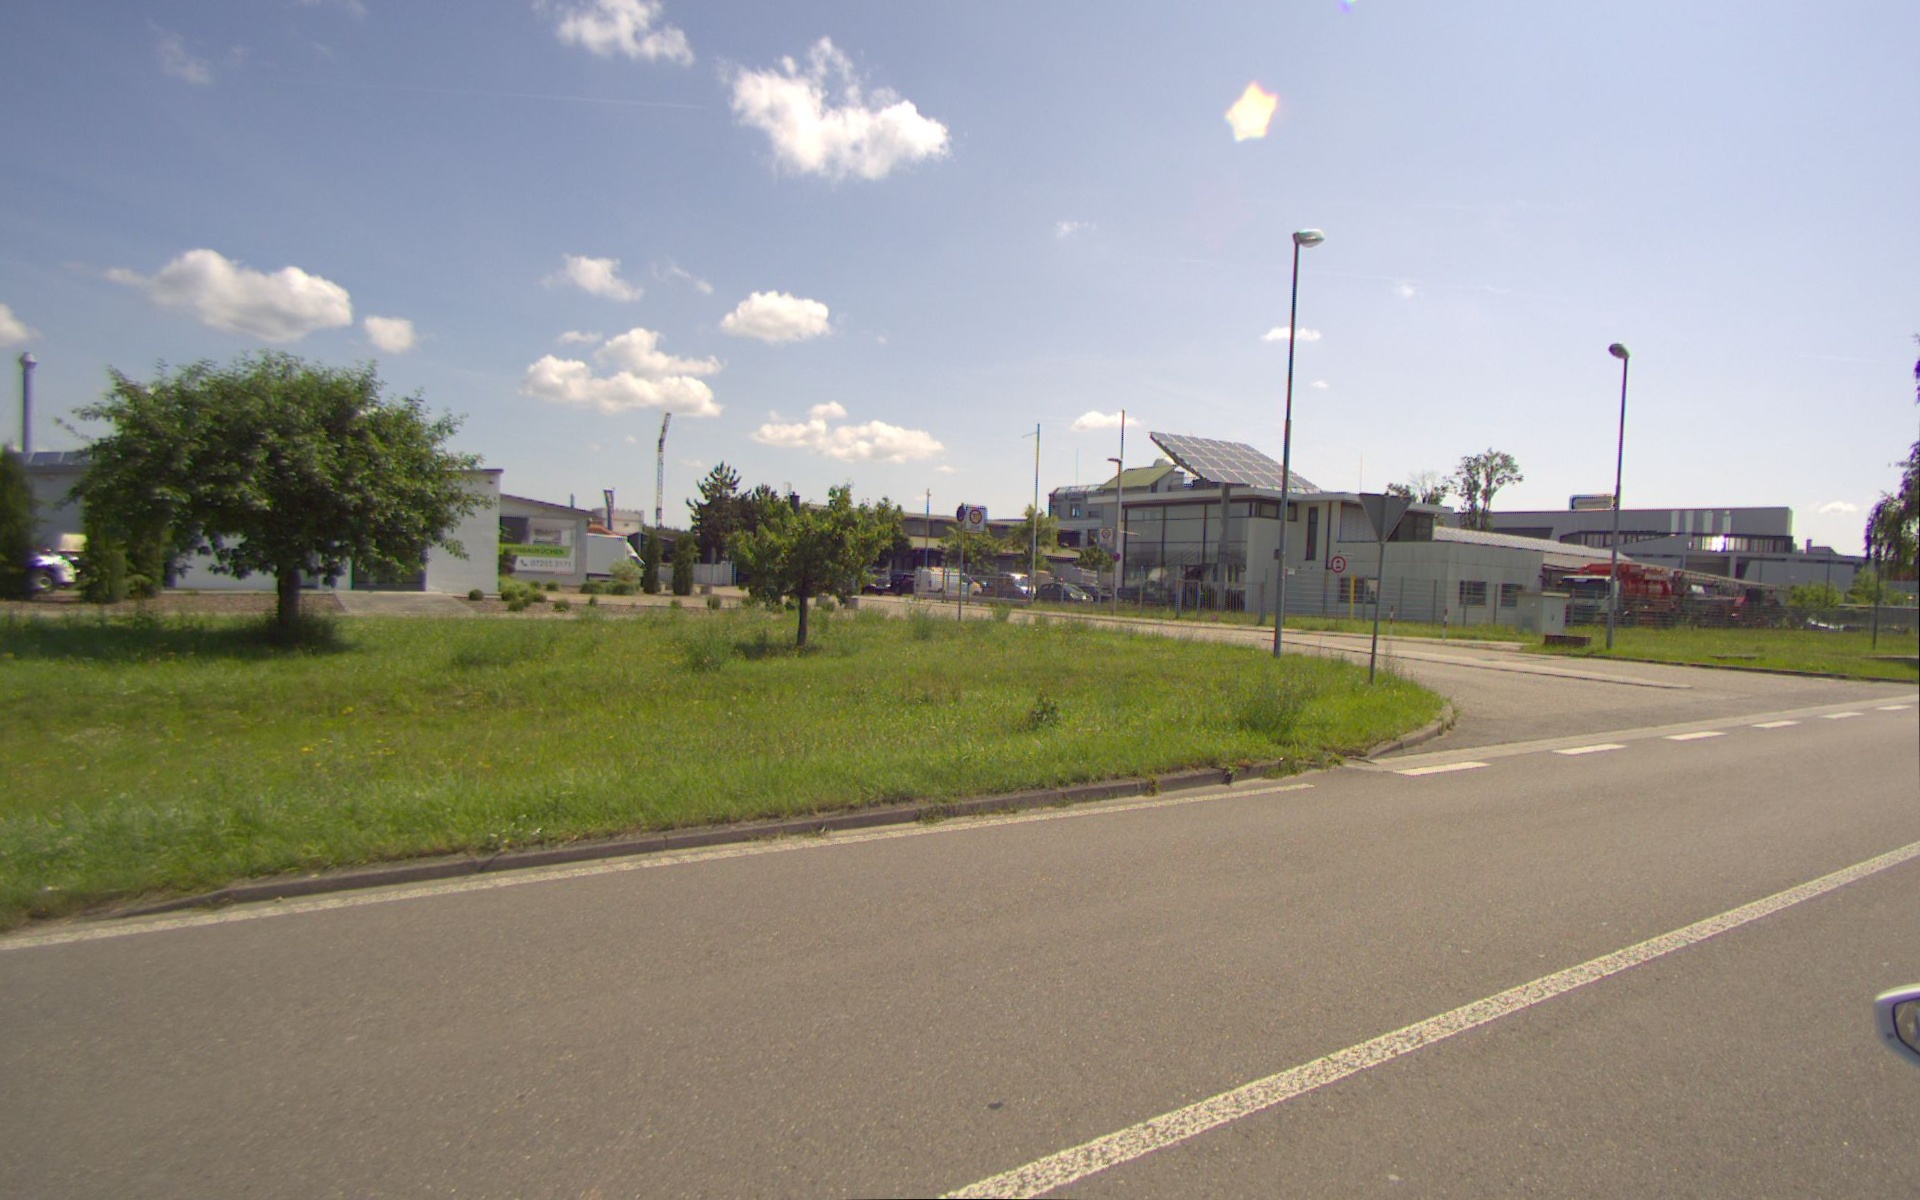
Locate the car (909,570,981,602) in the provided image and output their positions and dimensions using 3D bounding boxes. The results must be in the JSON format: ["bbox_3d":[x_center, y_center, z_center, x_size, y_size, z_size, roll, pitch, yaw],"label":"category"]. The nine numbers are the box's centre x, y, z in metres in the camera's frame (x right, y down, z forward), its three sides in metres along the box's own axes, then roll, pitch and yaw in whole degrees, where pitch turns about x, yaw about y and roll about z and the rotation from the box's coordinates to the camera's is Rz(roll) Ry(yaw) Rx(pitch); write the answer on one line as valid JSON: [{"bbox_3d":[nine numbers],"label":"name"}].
[{"bbox_3d":[-0.980,-0.935,67.953,4.704,2.041,1.976,1,2,-41],"label":"car"}]

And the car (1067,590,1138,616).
[{"bbox_3d":[8.099,0.155,57.507,1.786,1.261,3.960,1,2,-35],"label":"car"}]

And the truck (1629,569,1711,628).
[{"bbox_3d":[44.588,-0.051,63.051,5.389,3.499,2.418,1,2,-36],"label":"truck"}]

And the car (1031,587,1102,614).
[{"bbox_3d":[5.943,0.026,56.239,1.786,1.261,3.960,1,2,-35],"label":"car"}]

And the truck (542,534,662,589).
[{"bbox_3d":[-23.531,-2.503,66.249,7.122,3.256,1.979,1,2,-36],"label":"truck"}]

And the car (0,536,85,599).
[{"bbox_3d":[-26.651,-0.909,27.080,1.962,1.662,4.166,3,2,25],"label":"car"}]

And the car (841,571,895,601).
[{"bbox_3d":[-6.435,-0.977,69.863,1.981,1.874,3.958,1,2,-37],"label":"car"}]

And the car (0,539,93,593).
[{"bbox_3d":[-28.687,-1.020,29.706,1.962,1.549,4.166,3,2,25],"label":"car"}]

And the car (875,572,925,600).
[{"bbox_3d":[-4.296,-1.011,71.901,1.672,1.777,3.810,1,2,-38],"label":"car"}]

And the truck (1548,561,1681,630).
[{"bbox_3d":[37.280,-0.213,57.034,10.167,3.606,2.734,1,2,-36],"label":"truck"}]

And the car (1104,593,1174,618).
[{"bbox_3d":[10.513,0.291,59.253,1.786,1.261,3.960,1,2,-35],"label":"car"}]
